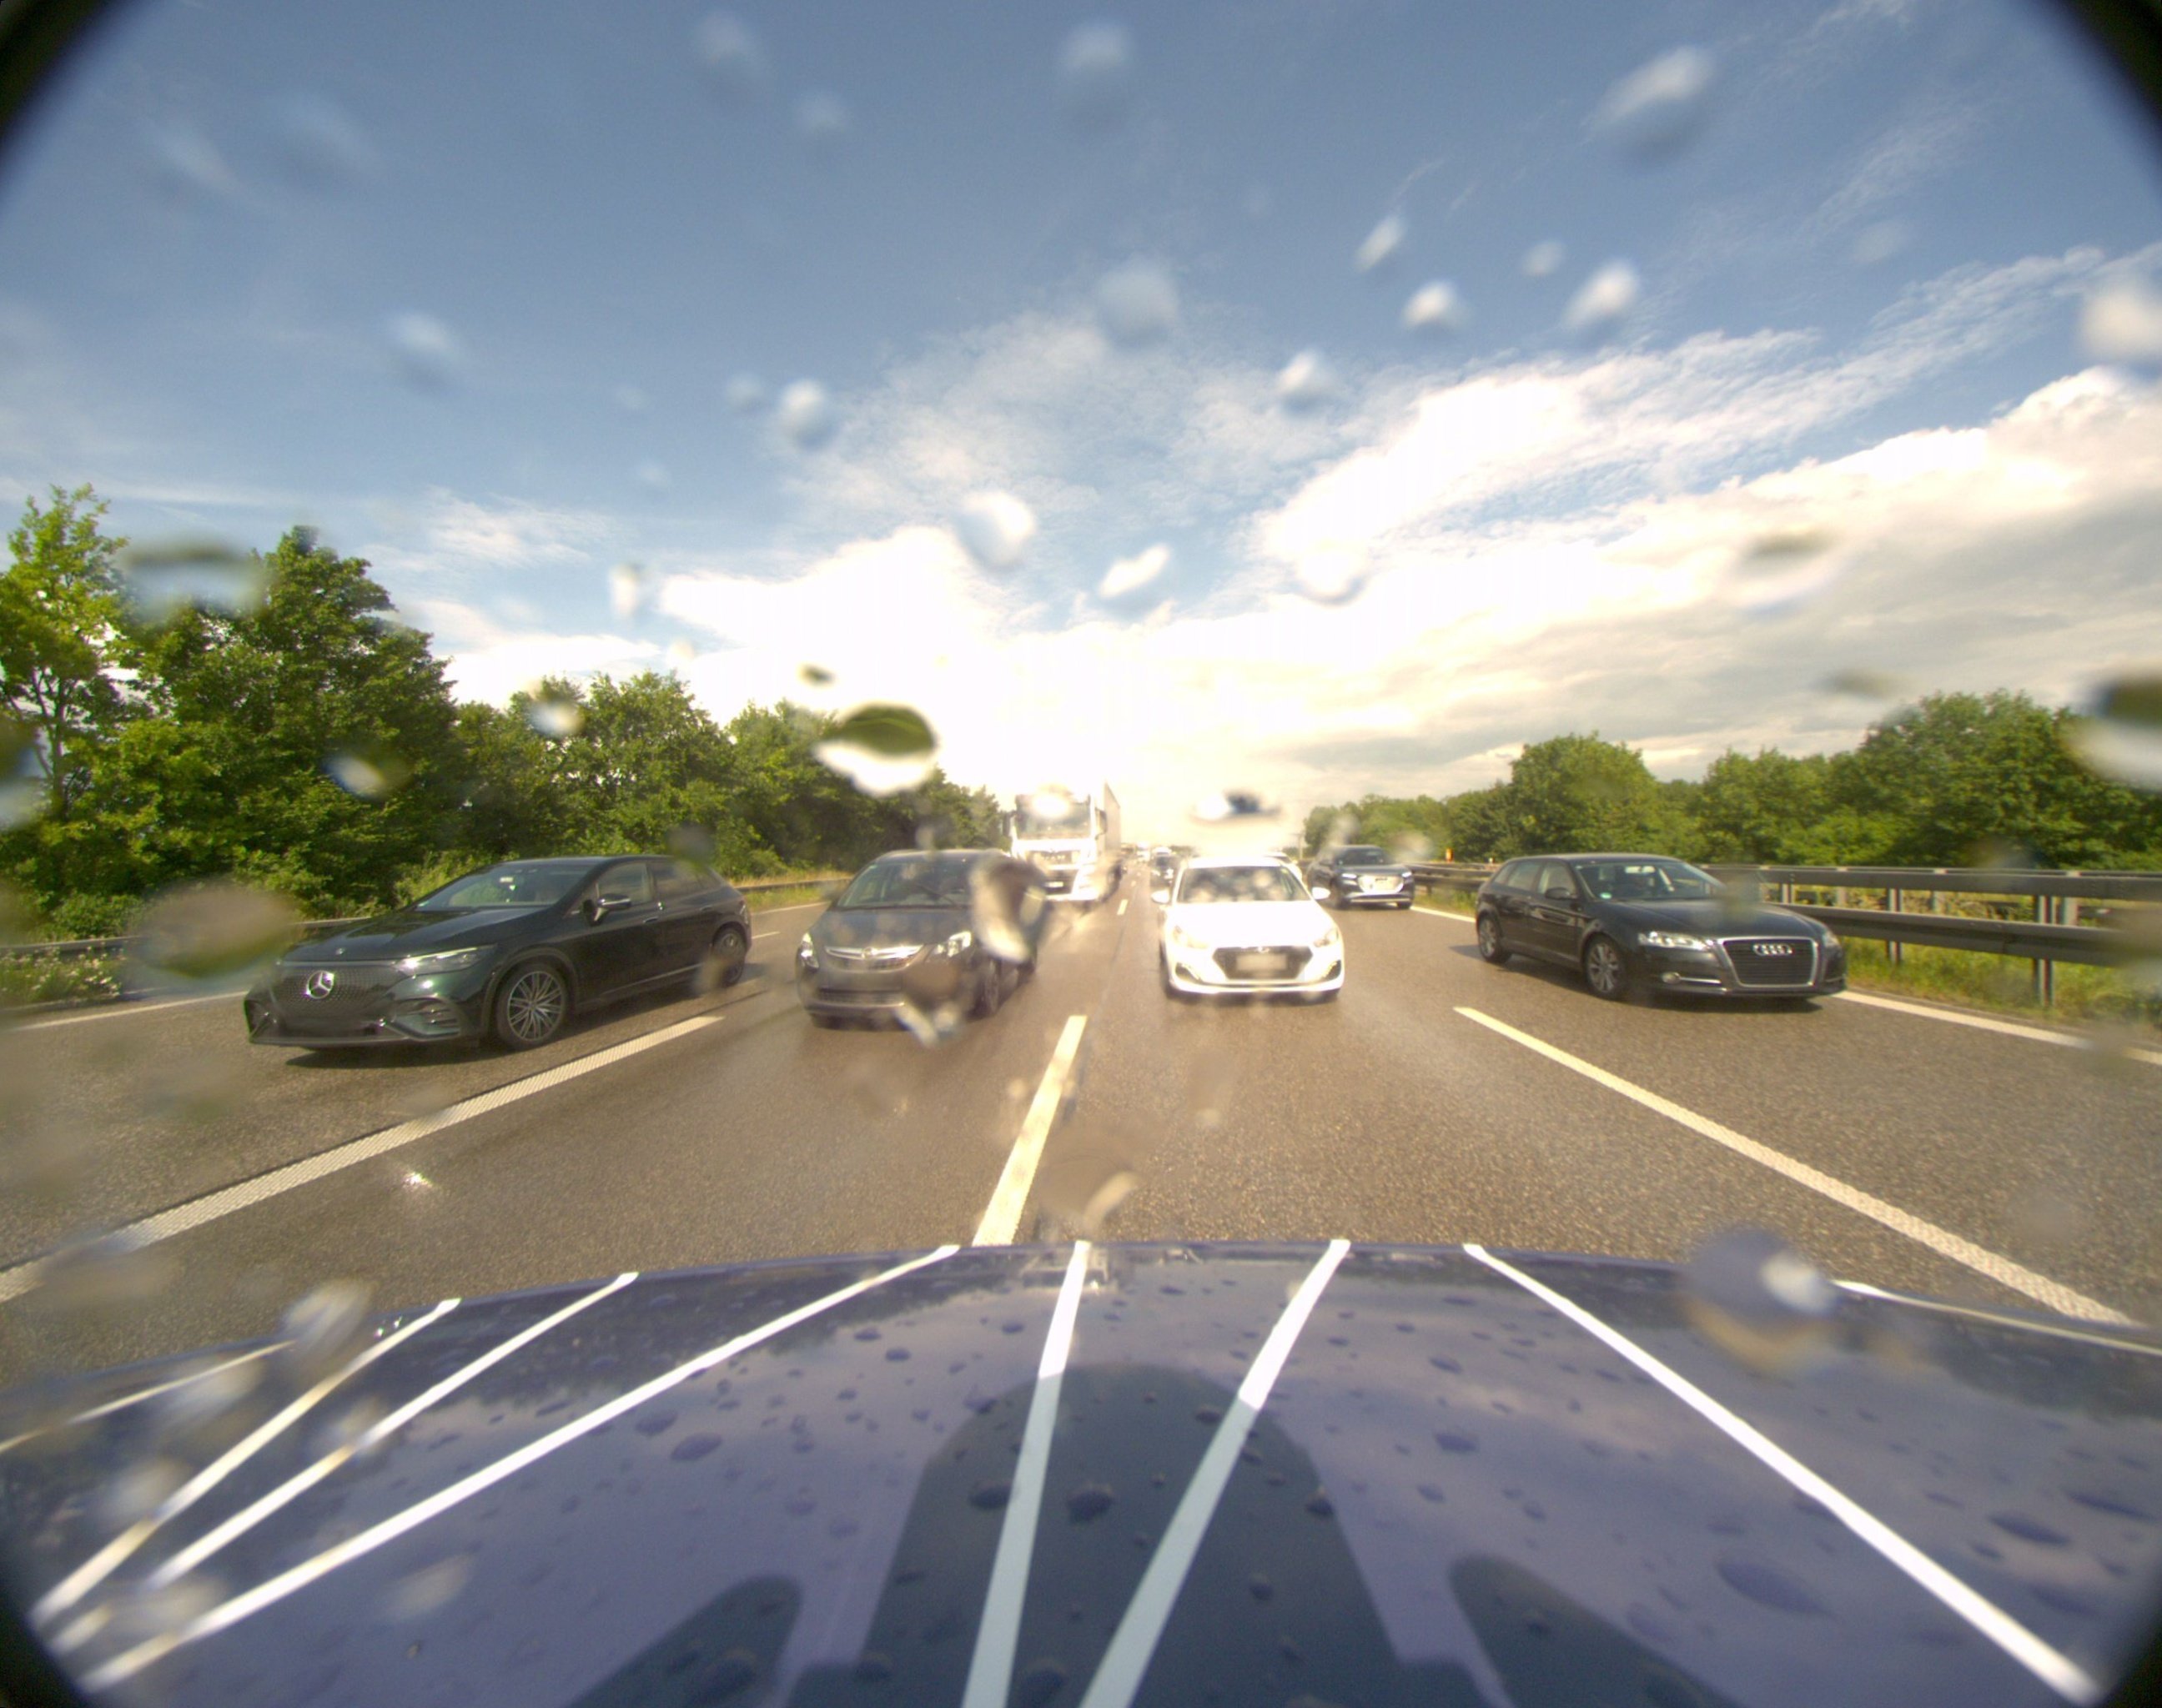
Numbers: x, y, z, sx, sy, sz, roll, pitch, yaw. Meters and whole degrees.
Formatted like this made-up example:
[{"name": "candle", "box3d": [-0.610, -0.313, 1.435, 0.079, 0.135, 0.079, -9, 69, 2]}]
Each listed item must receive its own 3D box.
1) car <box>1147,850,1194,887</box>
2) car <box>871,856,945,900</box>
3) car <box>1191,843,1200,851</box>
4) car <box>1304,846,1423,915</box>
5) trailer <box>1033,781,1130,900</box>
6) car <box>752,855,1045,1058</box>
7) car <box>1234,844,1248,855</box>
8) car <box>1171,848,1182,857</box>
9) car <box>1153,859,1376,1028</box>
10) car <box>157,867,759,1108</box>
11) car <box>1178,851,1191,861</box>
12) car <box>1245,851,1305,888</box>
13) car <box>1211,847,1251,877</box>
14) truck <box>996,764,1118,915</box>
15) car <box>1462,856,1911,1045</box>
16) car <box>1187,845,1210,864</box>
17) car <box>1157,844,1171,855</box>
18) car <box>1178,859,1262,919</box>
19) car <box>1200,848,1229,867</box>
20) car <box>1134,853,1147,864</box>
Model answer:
[{"name": "car", "box3d": [4.173, 0.639, 35.903, 1.998, 1.477, 4.000, -2, 1, 4]}, {"name": "car", "box3d": [-6.989, 0.915, 31.095, 1.752, 1.577, 4.287, -2, 1, 3]}, {"name": "car", "box3d": [27.775, -1.644, 184.519, 1.998, 1.768, 4.462, -1, 0, 5]}, {"name": "car", "box3d": [7.237, 0.603, 19.912, 1.874, 1.597, 4.230, -1, 1, 5]}, {"name": "trailer", "box3d": [0.362, -0.523, 32.415, 2.789, 4.083, 11.542, -2, 1, 6]}, {"name": "car", "box3d": [-1.628, 0.866, 8.500, 1.883, 1.638, 4.397, -1, 0, 4]}, {"name": "car", "box3d": [29.893, -0.832, 141.972, 1.998, 2.002, 4.654, -1, 0, 4]}, {"name": "car", "box3d": [20.057, -0.276, 159.286, 1.998, 1.687, 4.000, -3, 1, 4]}, {"name": "car", "box3d": [1.863, 0.837, 9.141, 1.885, 1.446, 4.549, -1, 0, 4]}, {"name": "car", "box3d": [-5.397, 0.993, 7.679, 1.998, 1.572, 4.654, -1, 0, 4]}, {"name": "car", "box3d": [19.275, 0.290, 141.400, 1.998, 1.687, 4.000, -3, 1, 4]}, {"name": "car", "box3d": [8.182, 0.626, 32.360, 1.771, 1.371, 4.000, -1, 1, 4]}, {"name": "car", "box3d": [9.713, 0.464, 49.551, 1.998, 1.739, 4.000, -3, 1, 4]}, {"name": "truck", "box3d": [-0.486, -0.420, 24.751, 2.816, 4.083, 7.448, -2, 1, 6]}, {"name": "car", "box3d": [5.864, 0.788, 8.142, 1.770, 1.417, 4.140, -2, 1, 5]}, {"name": "car", "box3d": [12.018, 0.040, 77.892, 1.998, 1.687, 4.000, -3, 1, 4]}, {"name": "car", "box3d": [13.737, -0.720, 126.211, 1.998, 1.687, 4.000, -3, 1, 4]}, {"name": "car", "box3d": [3.539, 0.832, 20.027, 1.728, 1.330, 4.288, -1, 0, 4]}, {"name": "car", "box3d": [11.439, 0.254, 65.380, 1.998, 1.471, 4.000, -3, 1, 4]}, {"name": "car", "box3d": [10.169, 0.695, 129.991, 1.998, 1.687, 4.000, -3, 1, 4]}]
